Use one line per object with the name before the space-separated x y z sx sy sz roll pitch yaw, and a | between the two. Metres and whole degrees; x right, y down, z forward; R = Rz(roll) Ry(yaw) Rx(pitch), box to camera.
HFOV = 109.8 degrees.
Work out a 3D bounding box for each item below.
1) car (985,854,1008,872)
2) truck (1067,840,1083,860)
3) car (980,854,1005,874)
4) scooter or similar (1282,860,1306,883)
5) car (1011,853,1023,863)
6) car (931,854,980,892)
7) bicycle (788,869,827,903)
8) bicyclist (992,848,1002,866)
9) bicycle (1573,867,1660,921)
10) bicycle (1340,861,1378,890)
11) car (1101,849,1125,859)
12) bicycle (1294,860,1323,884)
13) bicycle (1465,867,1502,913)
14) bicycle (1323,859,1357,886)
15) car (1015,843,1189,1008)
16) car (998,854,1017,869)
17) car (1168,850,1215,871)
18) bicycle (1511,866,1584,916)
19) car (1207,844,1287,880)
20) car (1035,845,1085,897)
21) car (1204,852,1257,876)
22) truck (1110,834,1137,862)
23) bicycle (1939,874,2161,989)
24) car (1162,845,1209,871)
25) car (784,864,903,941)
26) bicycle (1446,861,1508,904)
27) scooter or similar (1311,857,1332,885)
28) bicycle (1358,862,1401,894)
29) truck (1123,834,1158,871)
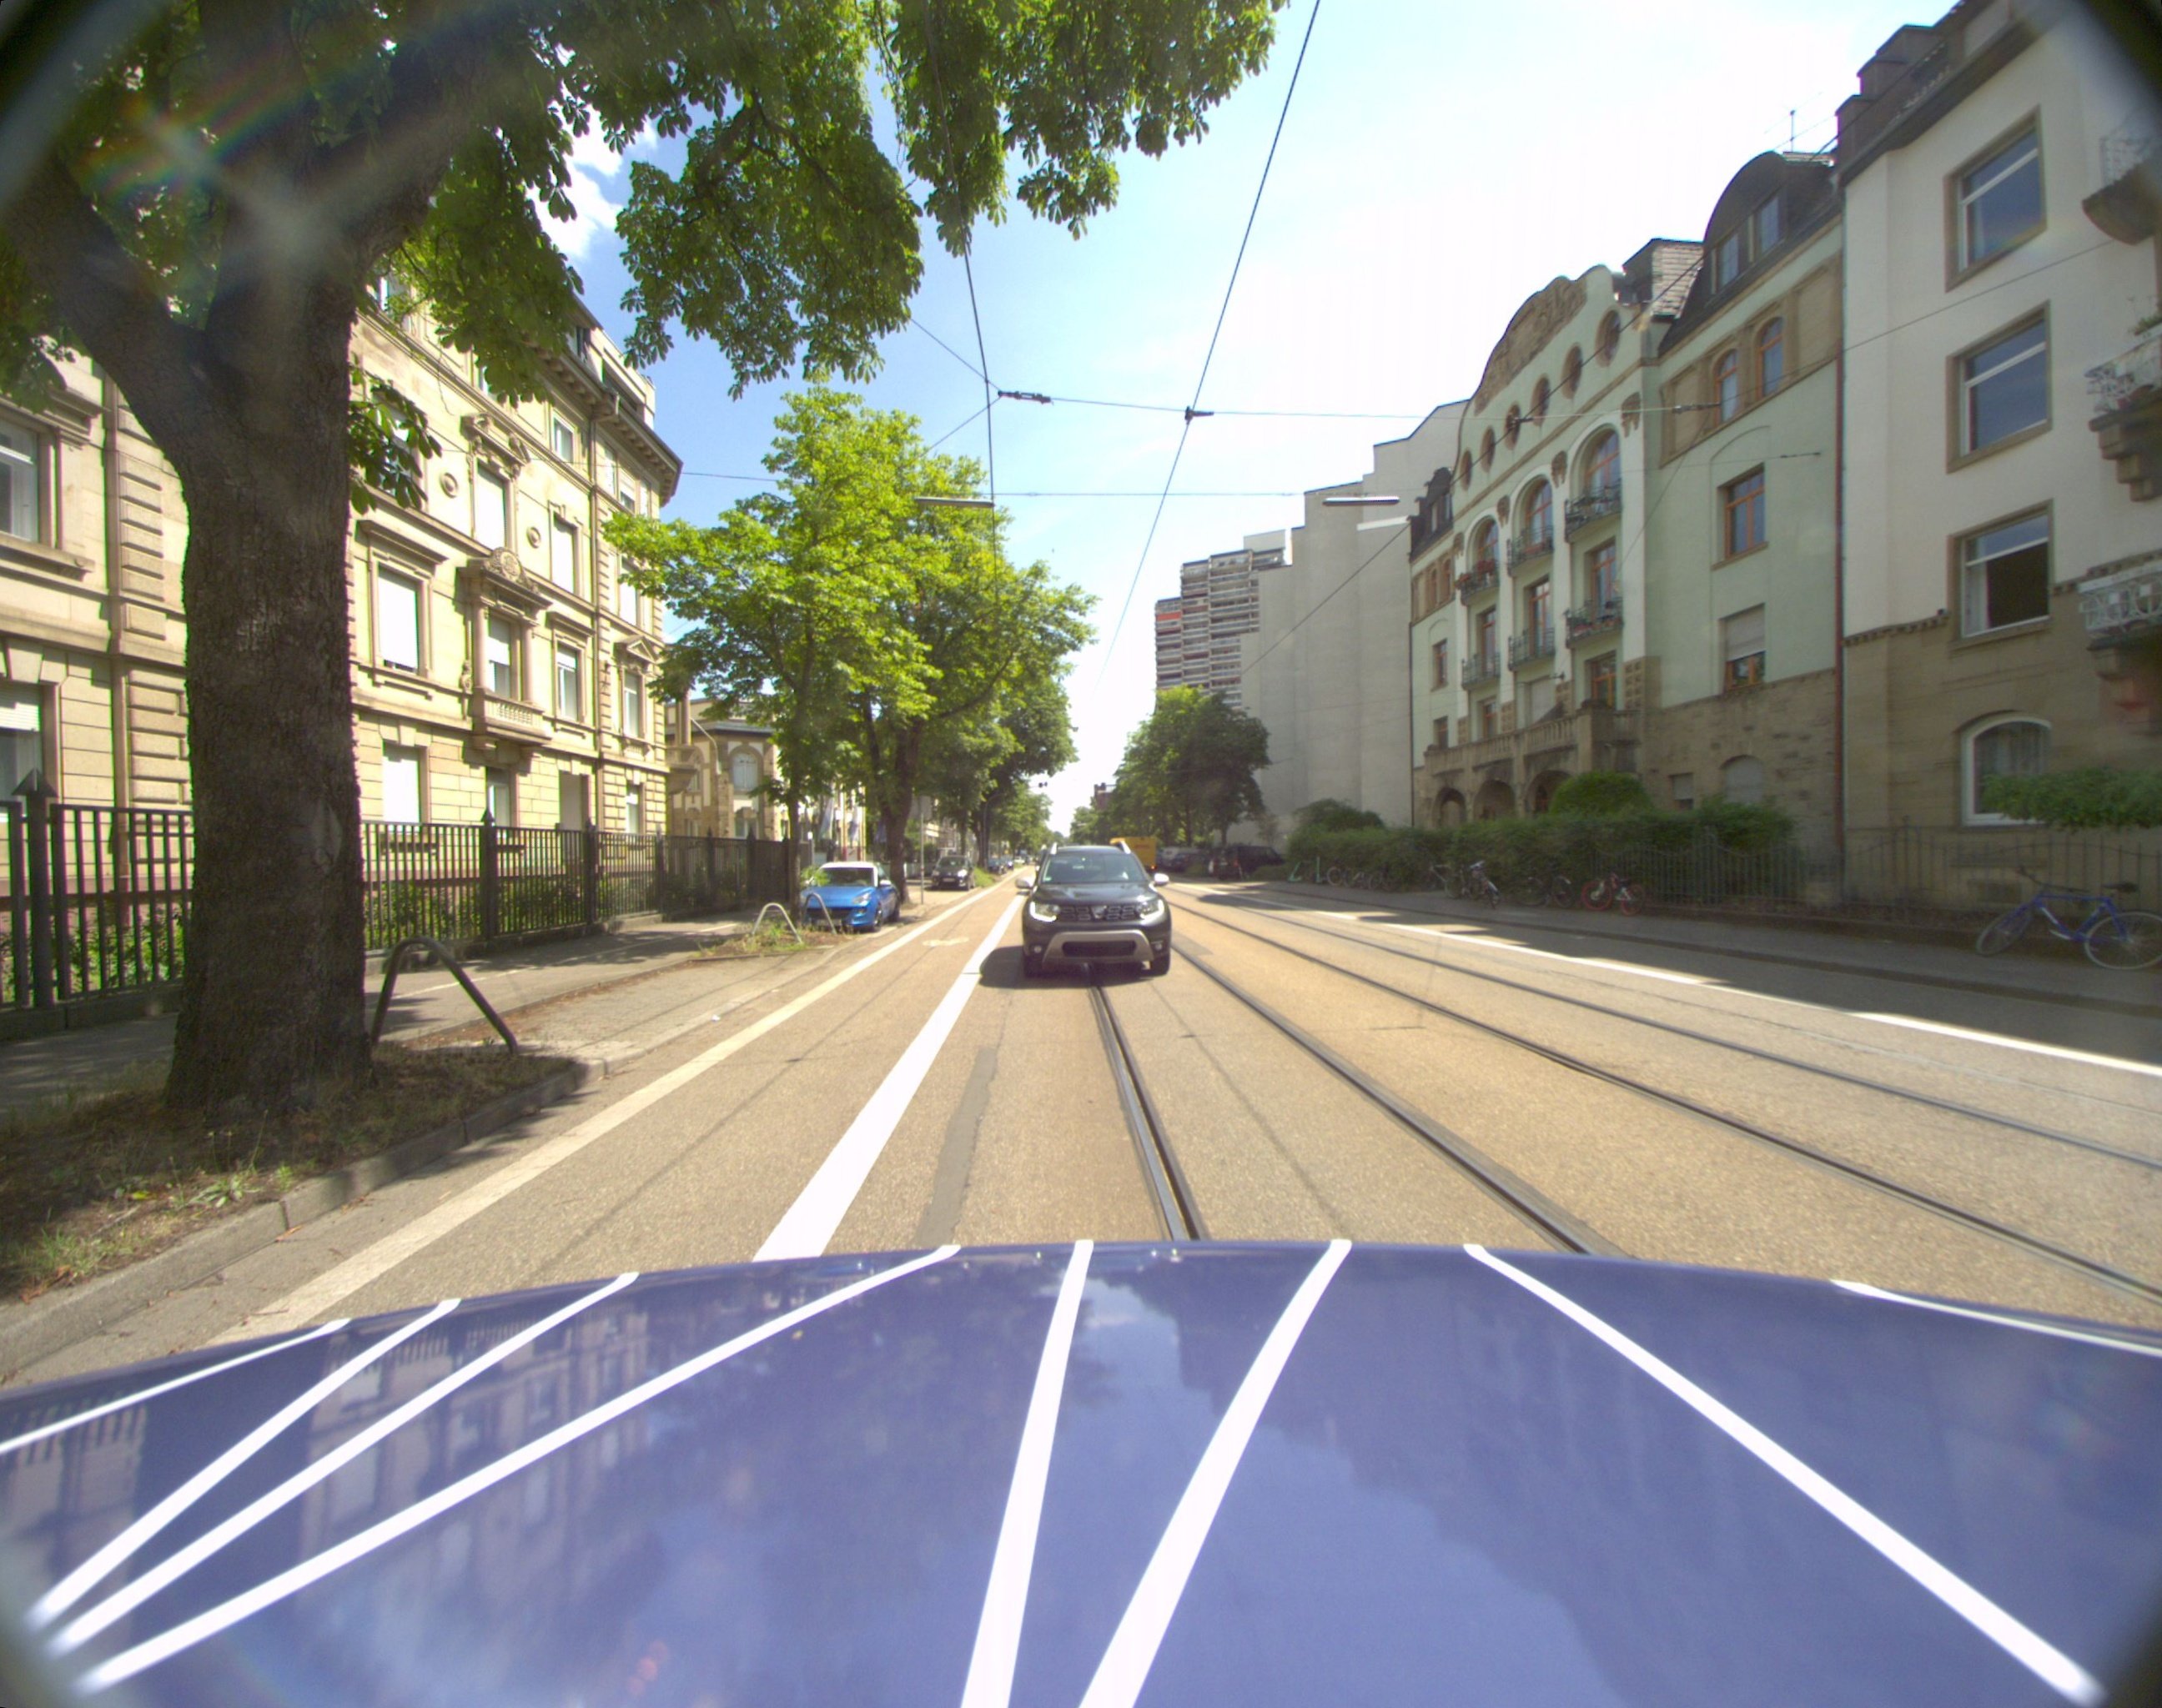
car | -7.092 0.743 64.210 1.626 1.395 3.999 1 0 -2
truck | -1.100 -0.759 141.288 2.792 3.598 8.255 -1 0 0
car | -6.696 0.739 57.751 1.626 1.395 3.822 1 0 -2
scooter or similar | 9.763 0.779 34.840 0.407 1.014 1.222 -1 0 -18
car | -9.386 0.585 111.238 1.626 1.395 3.999 1 0 -2
car | -5.849 0.850 35.827 1.734 1.606 4.083 1 0 -2
bicycle | -9.290 1.052 25.857 0.609 1.065 1.980 -1 0 0
bicyclist | -9.414 0.283 85.327 0.805 2.002 0.775 0 1 35
bicycle | 10.696 0.777 15.246 0.414 0.960 1.725 -4 0 -2
bicycle | 10.117 0.766 27.722 0.609 0.983 1.707 -5 0 -3
car | 6.193 0.003 147.503 4.338 1.797 1.995 -1 0 -35
bicycle | 9.901 0.761 33.059 0.609 0.983 1.707 -5 0 -3
bicycle | 9.542 0.824 17.984 0.608 0.993 1.778 0 1 33
bicycle | 10.076 0.706 29.650 0.609 0.983 1.707 -5 0 -3
car | 0.143 0.739 10.080 1.753 1.641 4.296 -2 0 -2
car | -7.426 0.756 76.828 1.626 1.395 3.999 1 0 -2
car | 8.580 0.499 58.801 3.692 1.566 1.678 -1 1 -45
bicycle | 10.450 0.799 17.080 0.465 0.993 1.707 -4 0 -2
car | 9.363 0.428 42.753 4.595 1.914 1.957 -1 1 -39
car | -0.840 0.621 30.353 1.753 1.806 4.307 -3 0 -2
car | 9.734 0.606 49.323 1.721 1.445 3.635 0 0 42
truck | 6.594 -0.958 117.529 2.672 4.155 10.481 -1 0 11
bicycle | 10.999 0.806 8.535 0.609 1.058 1.771 -5 0 -3
car | 8.594 0.282 62.290 4.061 2.030 1.598 -1 1 -43
car | -5.143 0.995 16.878 1.696 1.444 3.472 -1 0 -3
bicycle | 10.516 0.744 20.251 0.609 1.026 1.771 -5 0 -3
scooter or similar | 9.962 0.711 31.476 0.407 1.113 1.290 -1 0 0
bicycle | 10.109 0.791 25.792 0.609 0.970 1.771 -5 0 -3
truck | 4.857 -0.130 62.926 2.307 2.903 6.514 -1 0 -1
